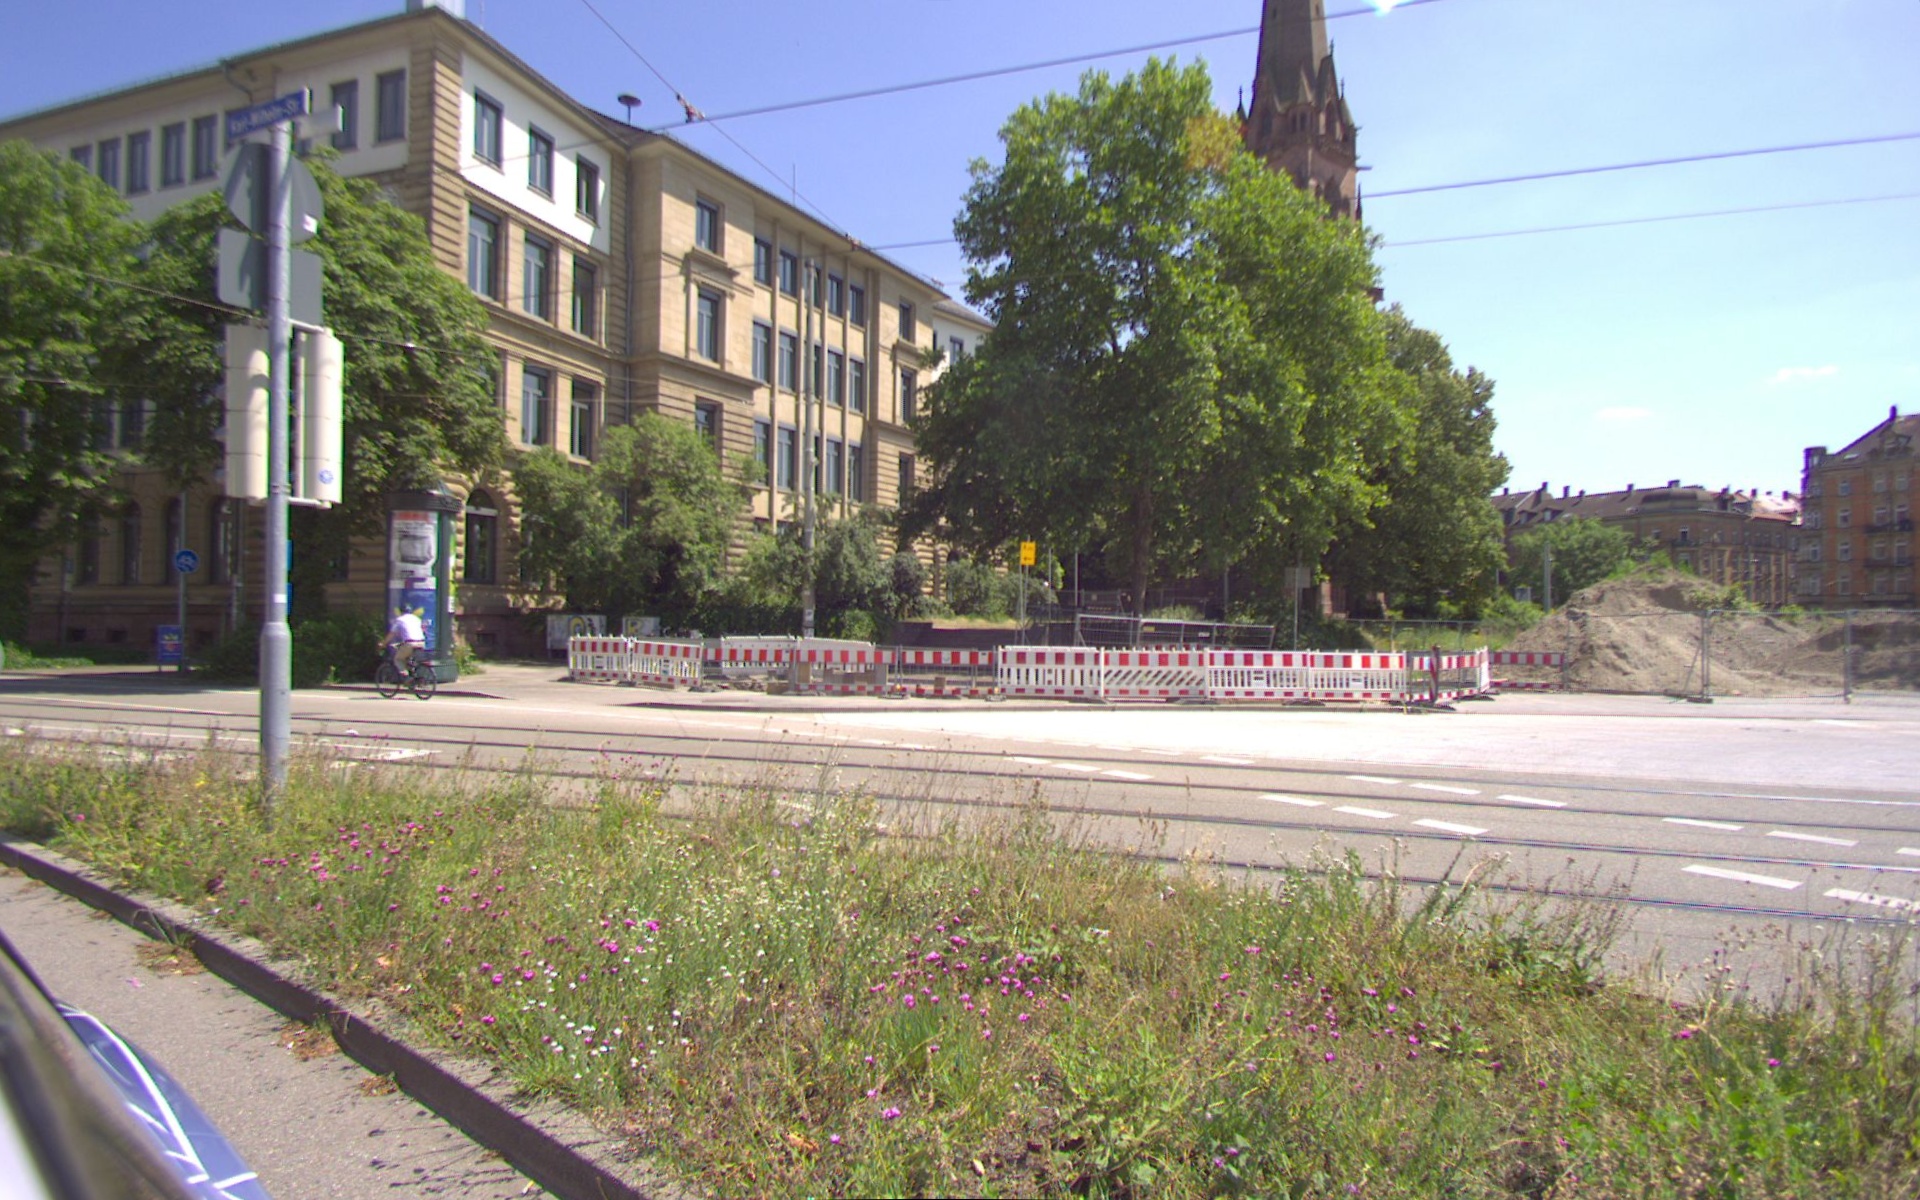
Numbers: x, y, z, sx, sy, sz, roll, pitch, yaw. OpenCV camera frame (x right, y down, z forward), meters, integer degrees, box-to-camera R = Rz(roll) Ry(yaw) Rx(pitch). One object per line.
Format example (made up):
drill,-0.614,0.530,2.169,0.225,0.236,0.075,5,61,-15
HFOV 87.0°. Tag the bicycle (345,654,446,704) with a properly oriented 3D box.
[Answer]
bicycle,-11.211,1.547,20.069,2.358,0.921,0.500,-1,-2,26

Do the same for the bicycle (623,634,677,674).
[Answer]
bicycle,-9.238,1.595,30.246,0.461,1.156,1.671,0,-1,29

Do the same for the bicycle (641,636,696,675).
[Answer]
bicycle,-8.599,1.614,29.914,0.501,1.111,1.723,-1,-2,26

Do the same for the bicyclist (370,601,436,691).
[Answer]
bicyclist,-10.994,0.892,19.989,0.766,1.723,0.816,-1,-2,26

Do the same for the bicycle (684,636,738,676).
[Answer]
bicycle,-7.172,1.599,29.233,0.501,1.111,1.723,-1,-2,26

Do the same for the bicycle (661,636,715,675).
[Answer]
bicycle,-7.927,1.604,29.581,0.501,1.111,1.723,-1,-2,26
